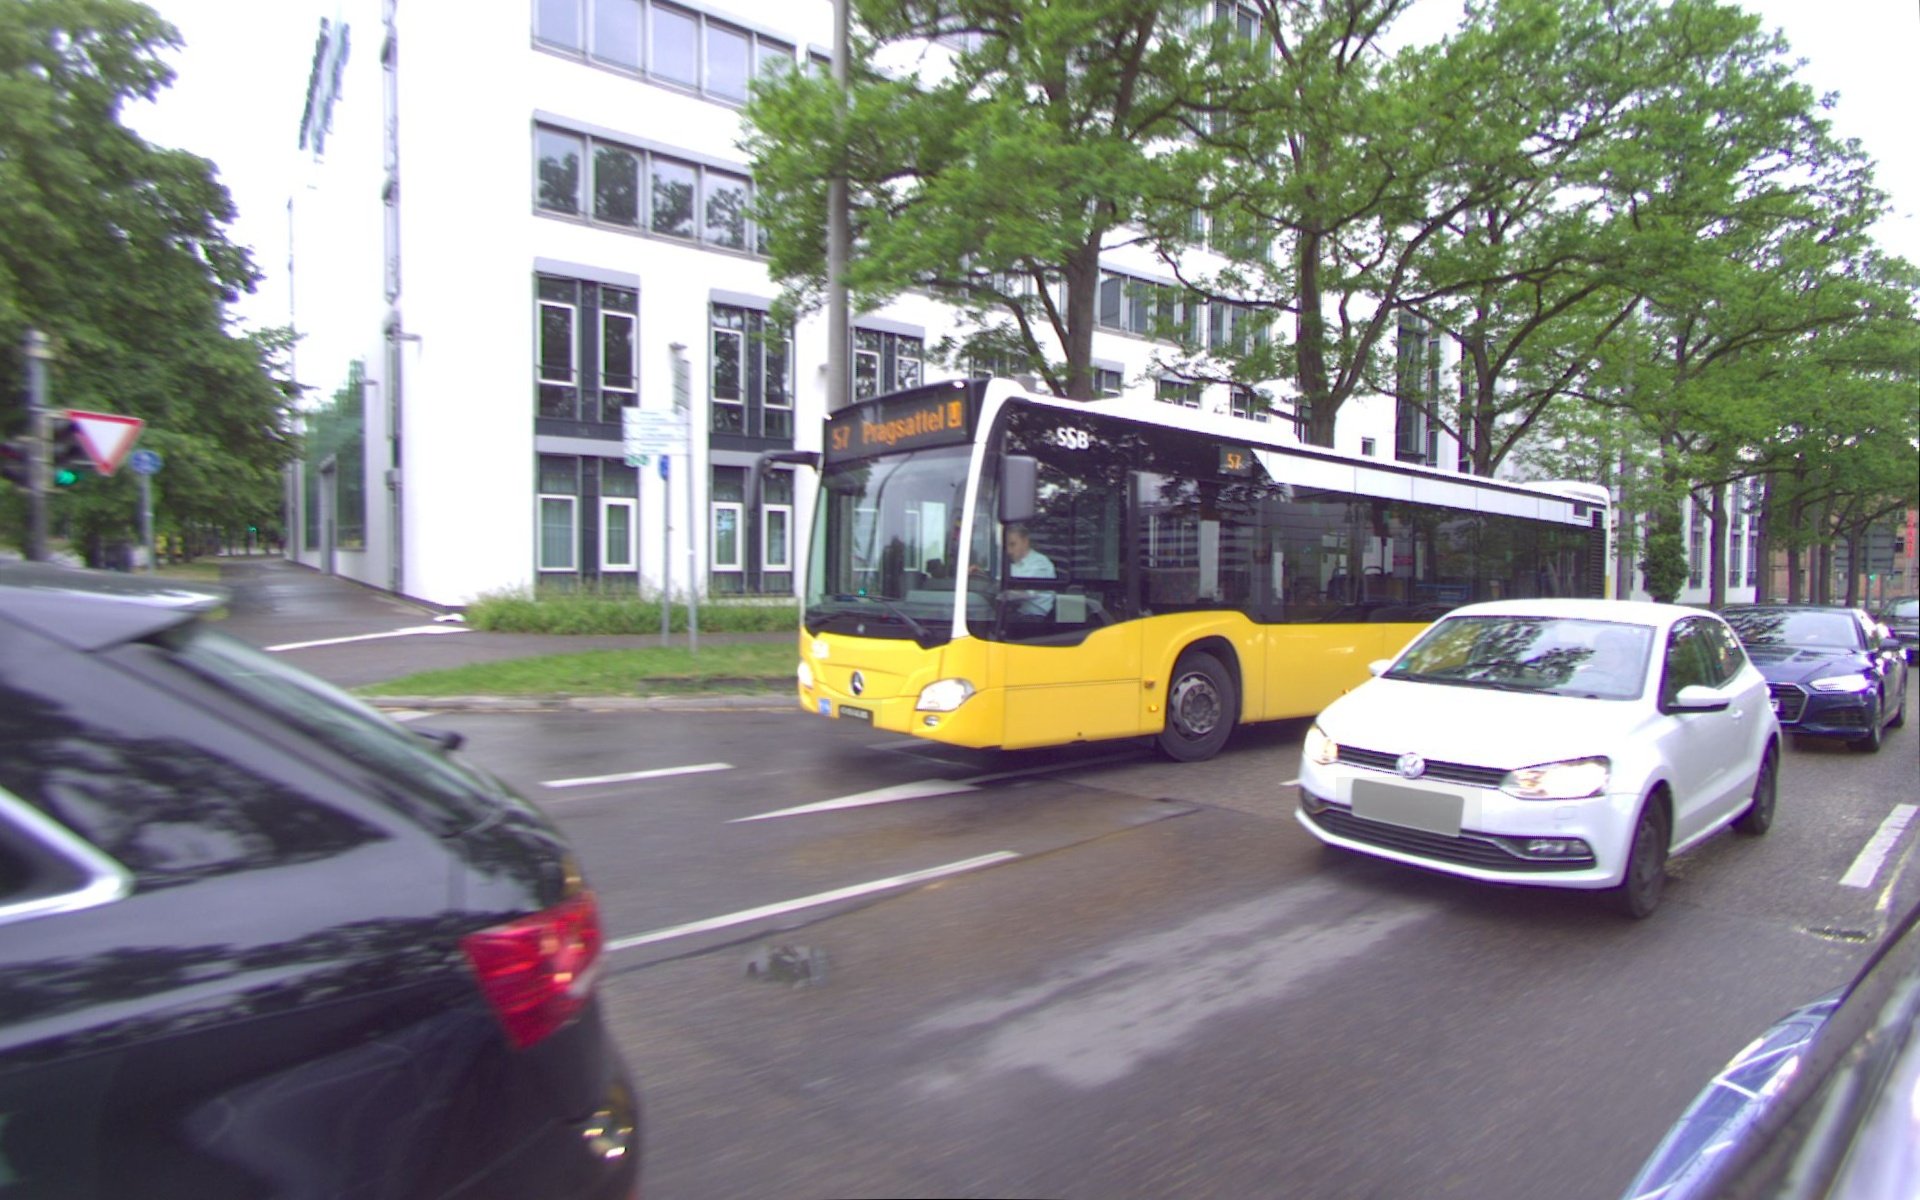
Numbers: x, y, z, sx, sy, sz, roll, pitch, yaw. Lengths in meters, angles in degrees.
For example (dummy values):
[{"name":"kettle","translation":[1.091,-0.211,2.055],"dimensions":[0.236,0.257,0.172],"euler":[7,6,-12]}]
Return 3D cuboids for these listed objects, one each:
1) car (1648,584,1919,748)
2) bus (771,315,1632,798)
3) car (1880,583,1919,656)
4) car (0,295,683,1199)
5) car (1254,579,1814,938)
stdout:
[{"name":"car","translation":[8.986,0.544,10.904],"dimensions":[1.874,1.371,4.263],"euler":[0,1,45]},{"name":"bus","translation":[3.851,-0.313,11.467],"dimensions":[11.924,3.192,2.733],"euler":[0,0,-38]},{"name":"car","translation":[21.042,0.387,21.532],"dimensions":[3.487,1.452,1.625],"euler":[-1,1,-38]},{"name":"car","translation":[-2.494,0.556,0.712],"dimensions":[4.043,1.615,1.887],"euler":[-1,1,-42]},{"name":"car","translation":[3.614,0.627,6.112],"dimensions":[3.745,1.449,1.744],"euler":[-1,3,-41]}]
